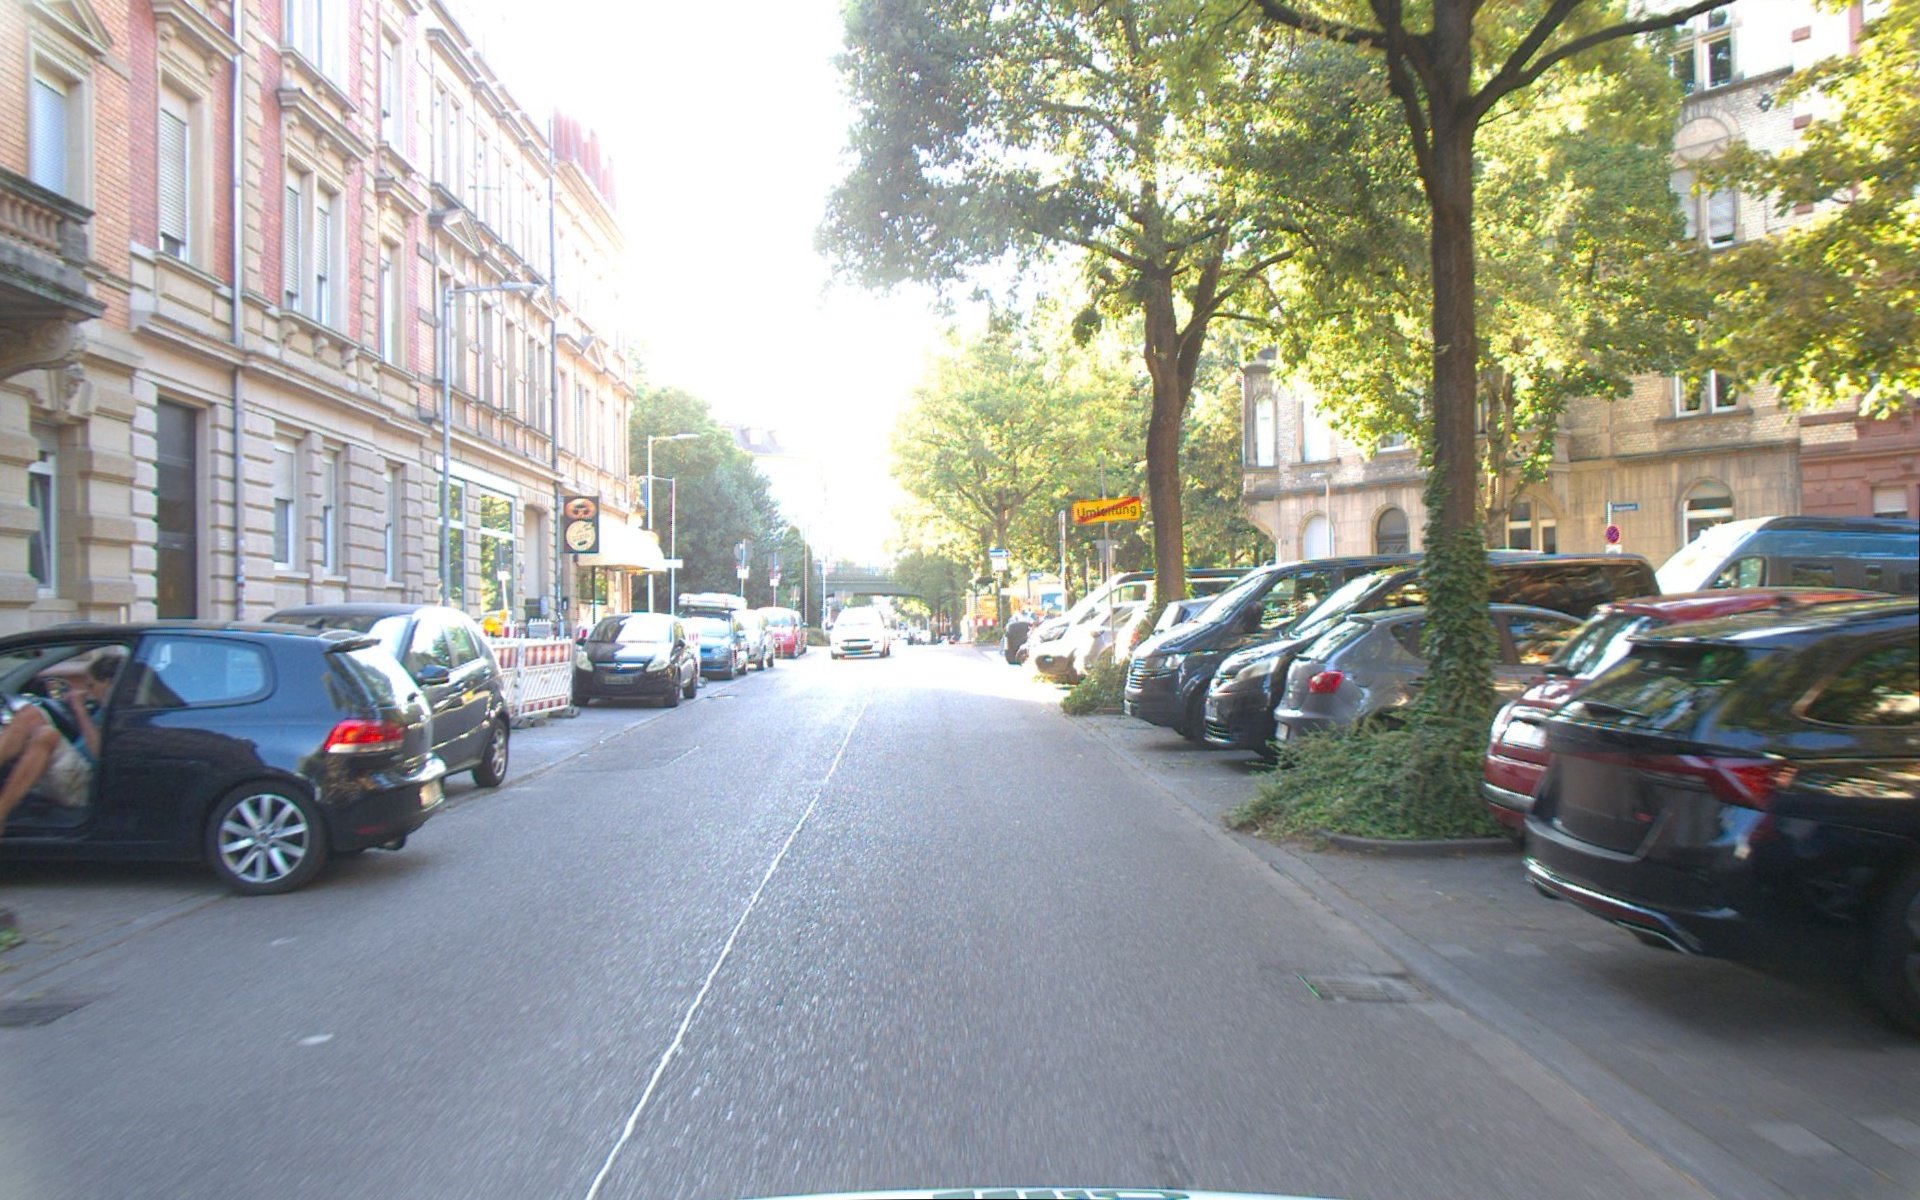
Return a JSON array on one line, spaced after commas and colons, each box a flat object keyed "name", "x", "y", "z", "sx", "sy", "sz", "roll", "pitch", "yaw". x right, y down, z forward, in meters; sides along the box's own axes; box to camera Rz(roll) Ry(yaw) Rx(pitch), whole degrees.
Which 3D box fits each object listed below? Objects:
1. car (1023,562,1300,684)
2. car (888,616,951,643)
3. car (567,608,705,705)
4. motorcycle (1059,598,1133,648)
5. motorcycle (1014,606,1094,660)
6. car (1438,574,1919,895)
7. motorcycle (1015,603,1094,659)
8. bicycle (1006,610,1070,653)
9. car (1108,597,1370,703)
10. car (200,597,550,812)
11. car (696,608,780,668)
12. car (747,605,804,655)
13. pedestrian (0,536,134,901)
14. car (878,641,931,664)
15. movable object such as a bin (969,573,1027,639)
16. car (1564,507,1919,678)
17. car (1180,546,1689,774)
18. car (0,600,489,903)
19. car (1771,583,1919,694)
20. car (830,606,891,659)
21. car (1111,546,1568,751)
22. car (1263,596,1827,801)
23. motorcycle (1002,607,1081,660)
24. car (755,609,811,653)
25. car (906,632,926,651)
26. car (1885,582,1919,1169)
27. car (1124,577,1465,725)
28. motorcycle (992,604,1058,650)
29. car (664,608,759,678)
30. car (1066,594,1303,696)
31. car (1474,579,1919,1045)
[{"name": "car", "x": 3.700, "y": 0.421, "z": 31.053, "sx": 4.873, "sy": 2.133, "sz": 2.105, "roll": -1, "pitch": 0, "yaw": -2}, {"name": "car", "x": -2.851, "y": 2.066, "z": 115.137, "sx": 4.301, "sy": 1.732, "sz": 1.915, "roll": 1, "pitch": -4, "yaw": -4}, {"name": "car", "x": -5.348, "y": 0.890, "z": 27.753, "sx": 1.669, "sy": 1.480, "sz": 4.018, "roll": -1, "pitch": 0, "yaw": -3}, {"name": "motorcycle", "x": 4.316, "y": 0.734, "z": 52.525, "sx": 2.239, "sy": 1.558, "sz": 0.754, "roll": 0, "pitch": -1, "yaw": -8}, {"name": "motorcycle", "x": 2.409, "y": 0.853, "z": 42.538, "sx": 1.975, "sy": 1.350, "sz": 0.620, "roll": -1, "pitch": 0, "yaw": -6}, {"name": "car", "x": 4.893, "y": 0.631, "z": 9.039, "sx": 3.998, "sy": 1.524, "sz": 1.843, "roll": -1, "pitch": 0, "yaw": -1}, {"name": "motorcycle", "x": 2.476, "y": 0.805, "z": 43.469, "sx": 1.982, "sy": 1.386, "sz": 0.694, "roll": -2, "pitch": 0, "yaw": -2}, {"name": "bicycle", "x": 2.330, "y": 0.935, "z": 49.268, "sx": 1.888, "sy": 1.268, "sz": 0.302, "roll": 0, "pitch": -1, "yaw": -8}, {"name": "car", "x": 4.320, "y": 0.756, "z": 26.012, "sx": 3.763, "sy": 1.542, "sz": 1.847, "roll": -1, "pitch": 0, "yaw": -2}, {"name": "car", "x": -4.909, "y": 0.792, "z": 14.469, "sx": 1.706, "sy": 1.594, "sz": 3.894, "roll": -1, "pitch": 0, "yaw": -1}, {"name": "car", "x": -5.747, "y": 0.956, "z": 43.135, "sx": 1.690, "sy": 1.462, "sz": 3.995, "roll": 1, "pitch": 0, "yaw": -1}, {"name": "car", "x": -5.936, "y": 0.954, "z": 53.463, "sx": 1.636, "sy": 1.557, "sz": 3.997, "roll": 0, "pitch": -1, "yaw": -4}, {"name": "pedestrian", "x": -4.922, "y": 0.620, "z": 9.123, "sx": 0.631, "sy": 1.921, "sz": 0.587, "roll": -1, "pitch": 0, "yaw": -27}, {"name": "car", "x": -4.635, "y": 4.362, "z": 137.390, "sx": 4.301, "sy": 1.816, "sz": 1.915, "roll": 1, "pitch": -4, "yaw": -4}, {"name": "movable object such as a bin", "x": 1.663, "y": 0.266, "z": 71.329, "sx": 1.951, "sy": 2.747, "sz": 3.113, "roll": -1, "pitch": -1, "yaw": 12}, {"name": "car", "x": 13.073, "y": -0.133, "z": 26.718, "sx": 5.783, "sy": 2.582, "sz": 2.376, "roll": -1, "pitch": 0, "yaw": -8}, {"name": "car", "x": 4.361, "y": 0.521, "z": 15.609, "sx": 4.185, "sy": 1.918, "sz": 1.937, "roll": -1, "pitch": 0, "yaw": -5}, {"name": "car", "x": -4.950, "y": 0.831, "z": 9.736, "sx": 3.912, "sy": 1.556, "sz": 1.823, "roll": -1, "pitch": 0, "yaw": -8}, {"name": "car", "x": 14.442, "y": 0.508, "z": 24.310, "sx": 4.214, "sy": 1.531, "sz": 1.911, "roll": -1, "pitch": 0, "yaw": -10}, {"name": "car", "x": -3.027, "y": 0.968, "z": 50.760, "sx": 1.713, "sy": 1.535, "sz": 3.999, "roll": -1, "pitch": 0, "yaw": -2}, {"name": "car", "x": 4.081, "y": 0.496, "z": 18.302, "sx": 4.524, "sy": 2.049, "sz": 1.998, "roll": -1, "pitch": 0, "yaw": -4}, {"name": "car", "x": 4.549, "y": 0.746, "z": 13.358, "sx": 3.903, "sy": 1.473, "sz": 1.891, "roll": -1, "pitch": 0, "yaw": 3}, {"name": "motorcycle", "x": 2.189, "y": 0.887, "z": 44.438, "sx": 1.983, "sy": 1.307, "sz": 0.903, "roll": -3, "pitch": 0, "yaw": -3}, {"name": "car", "x": -6.165, "y": 1.061, "z": 57.908, "sx": 1.635, "sy": 1.483, "sz": 3.998, "roll": 0, "pitch": -1, "yaw": -2}, {"name": "car", "x": -4.043, "y": 3.782, "z": 152.247, "sx": 1.739, "sy": 1.637, "sz": 4.400, "roll": -1, "pitch": 0, "yaw": -2}, {"name": "car", "x": 4.486, "y": 0.623, "z": 3.726, "sx": 3.914, "sy": 1.500, "sz": 1.778, "roll": -2, "pitch": 0, "yaw": -9}, {"name": "car", "x": 4.175, "y": 0.618, "z": 21.022, "sx": 3.908, "sy": 1.722, "sz": 1.799, "roll": -1, "pitch": 0, "yaw": -3}, {"name": "motorcycle", "x": 2.078, "y": 0.871, "z": 53.087, "sx": 1.894, "sy": 1.437, "sz": 0.940, "roll": -1, "pitch": -1, "yaw": 26}, {"name": "car", "x": -5.630, "y": 0.941, "z": 37.920, "sx": 1.729, "sy": 1.462, "sz": 4.298, "roll": -1, "pitch": 0, "yaw": -3}, {"name": "car", "x": 3.765, "y": 0.739, "z": 28.171, "sx": 3.763, "sy": 1.623, "sz": 1.740, "roll": -1, "pitch": 0, "yaw": -2}, {"name": "car", "x": 4.430, "y": 0.642, "z": 6.350, "sx": 4.281, "sy": 1.481, "sz": 1.933, "roll": -1, "pitch": 0, "yaw": -1}]
